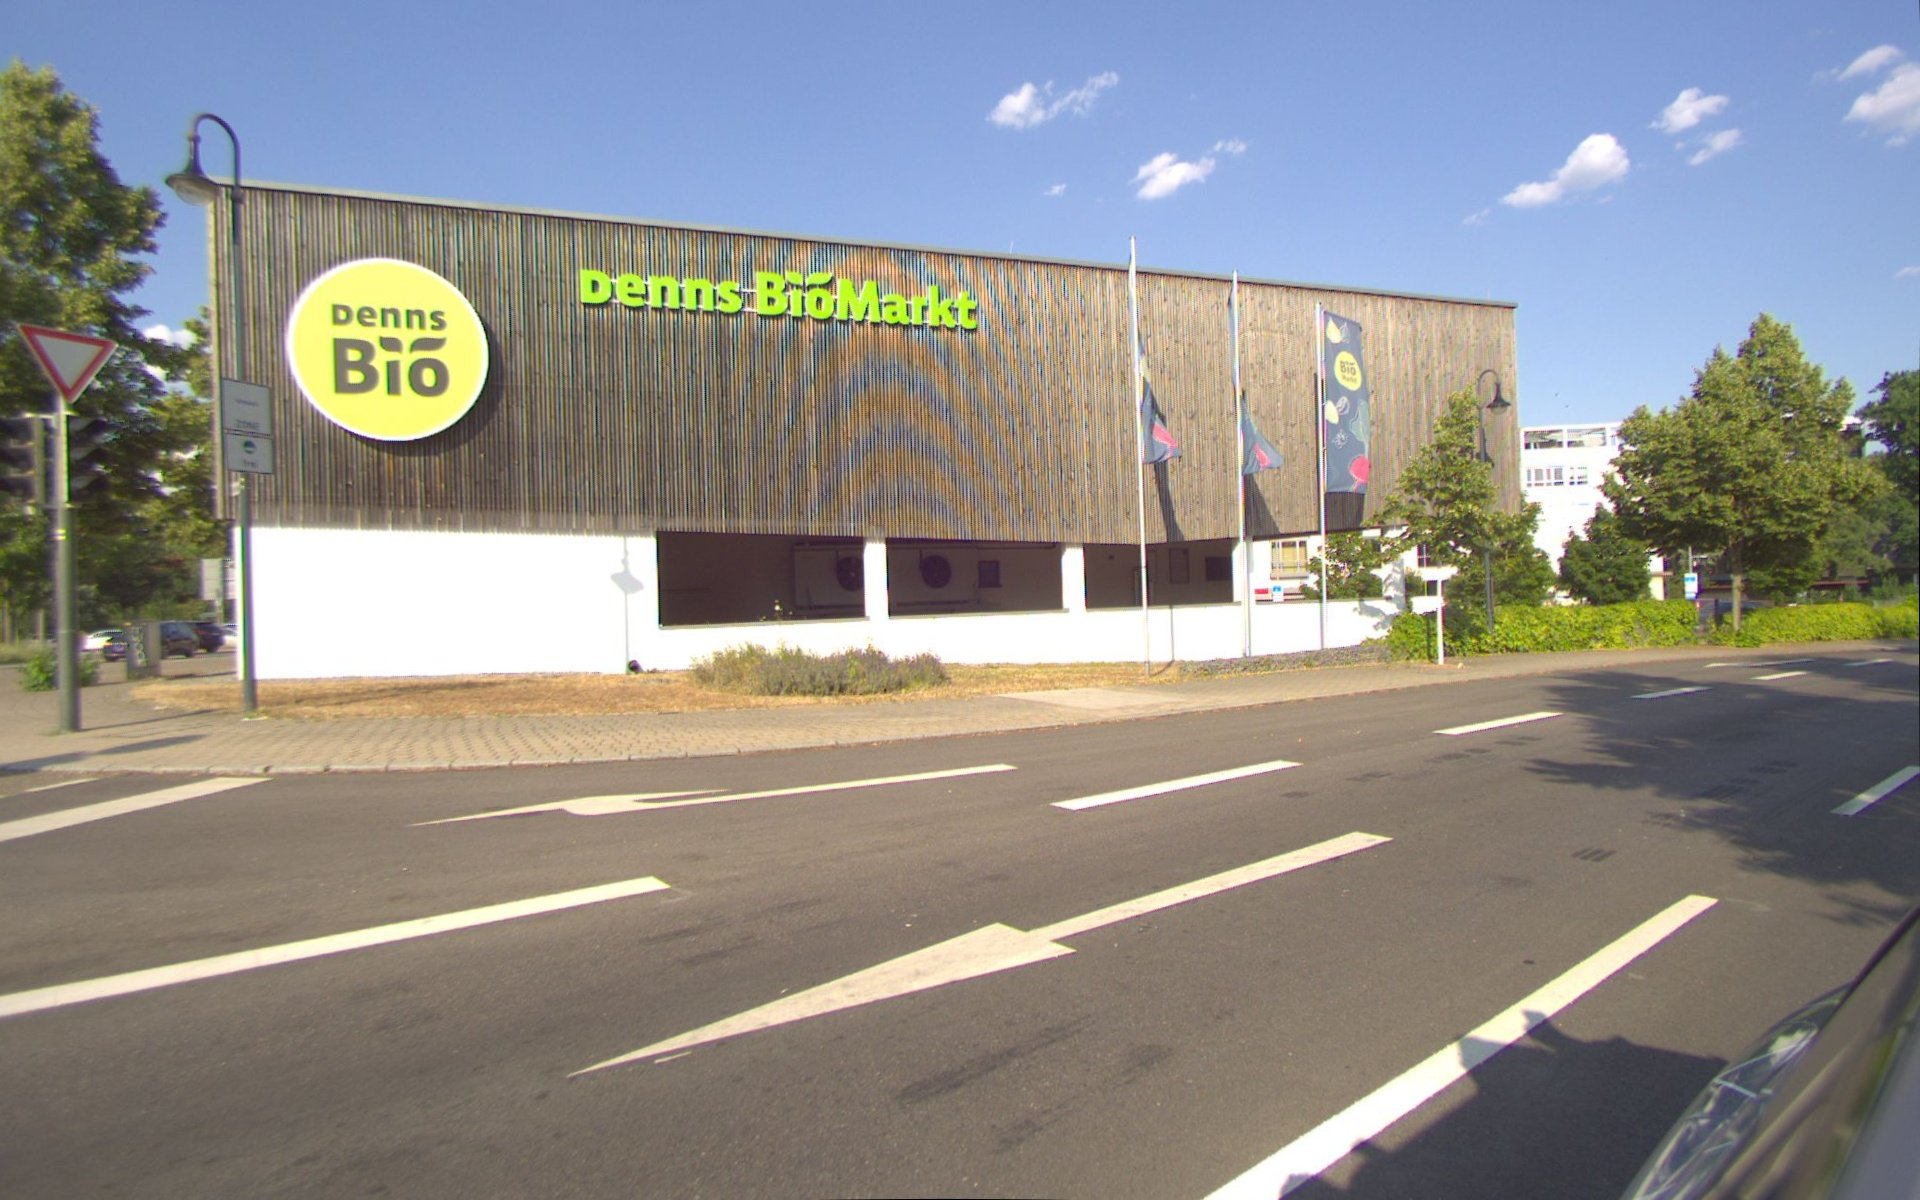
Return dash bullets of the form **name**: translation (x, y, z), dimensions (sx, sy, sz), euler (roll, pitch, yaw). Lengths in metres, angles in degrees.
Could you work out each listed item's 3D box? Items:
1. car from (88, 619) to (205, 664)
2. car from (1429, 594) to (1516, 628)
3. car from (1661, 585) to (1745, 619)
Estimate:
- **car**: translation (-30.220, 1.508, 37.748), dimensions (1.819, 1.471, 4.007), euler (-1, 0, -13)
- **car**: translation (28.832, 0.625, 56.960), dimensions (4.225, 1.746, 1.898), euler (-1, -3, -19)
- **car**: translation (44.281, 0.111, 60.349), dimensions (4.551, 1.878, 2.003), euler (-1, -1, -24)
